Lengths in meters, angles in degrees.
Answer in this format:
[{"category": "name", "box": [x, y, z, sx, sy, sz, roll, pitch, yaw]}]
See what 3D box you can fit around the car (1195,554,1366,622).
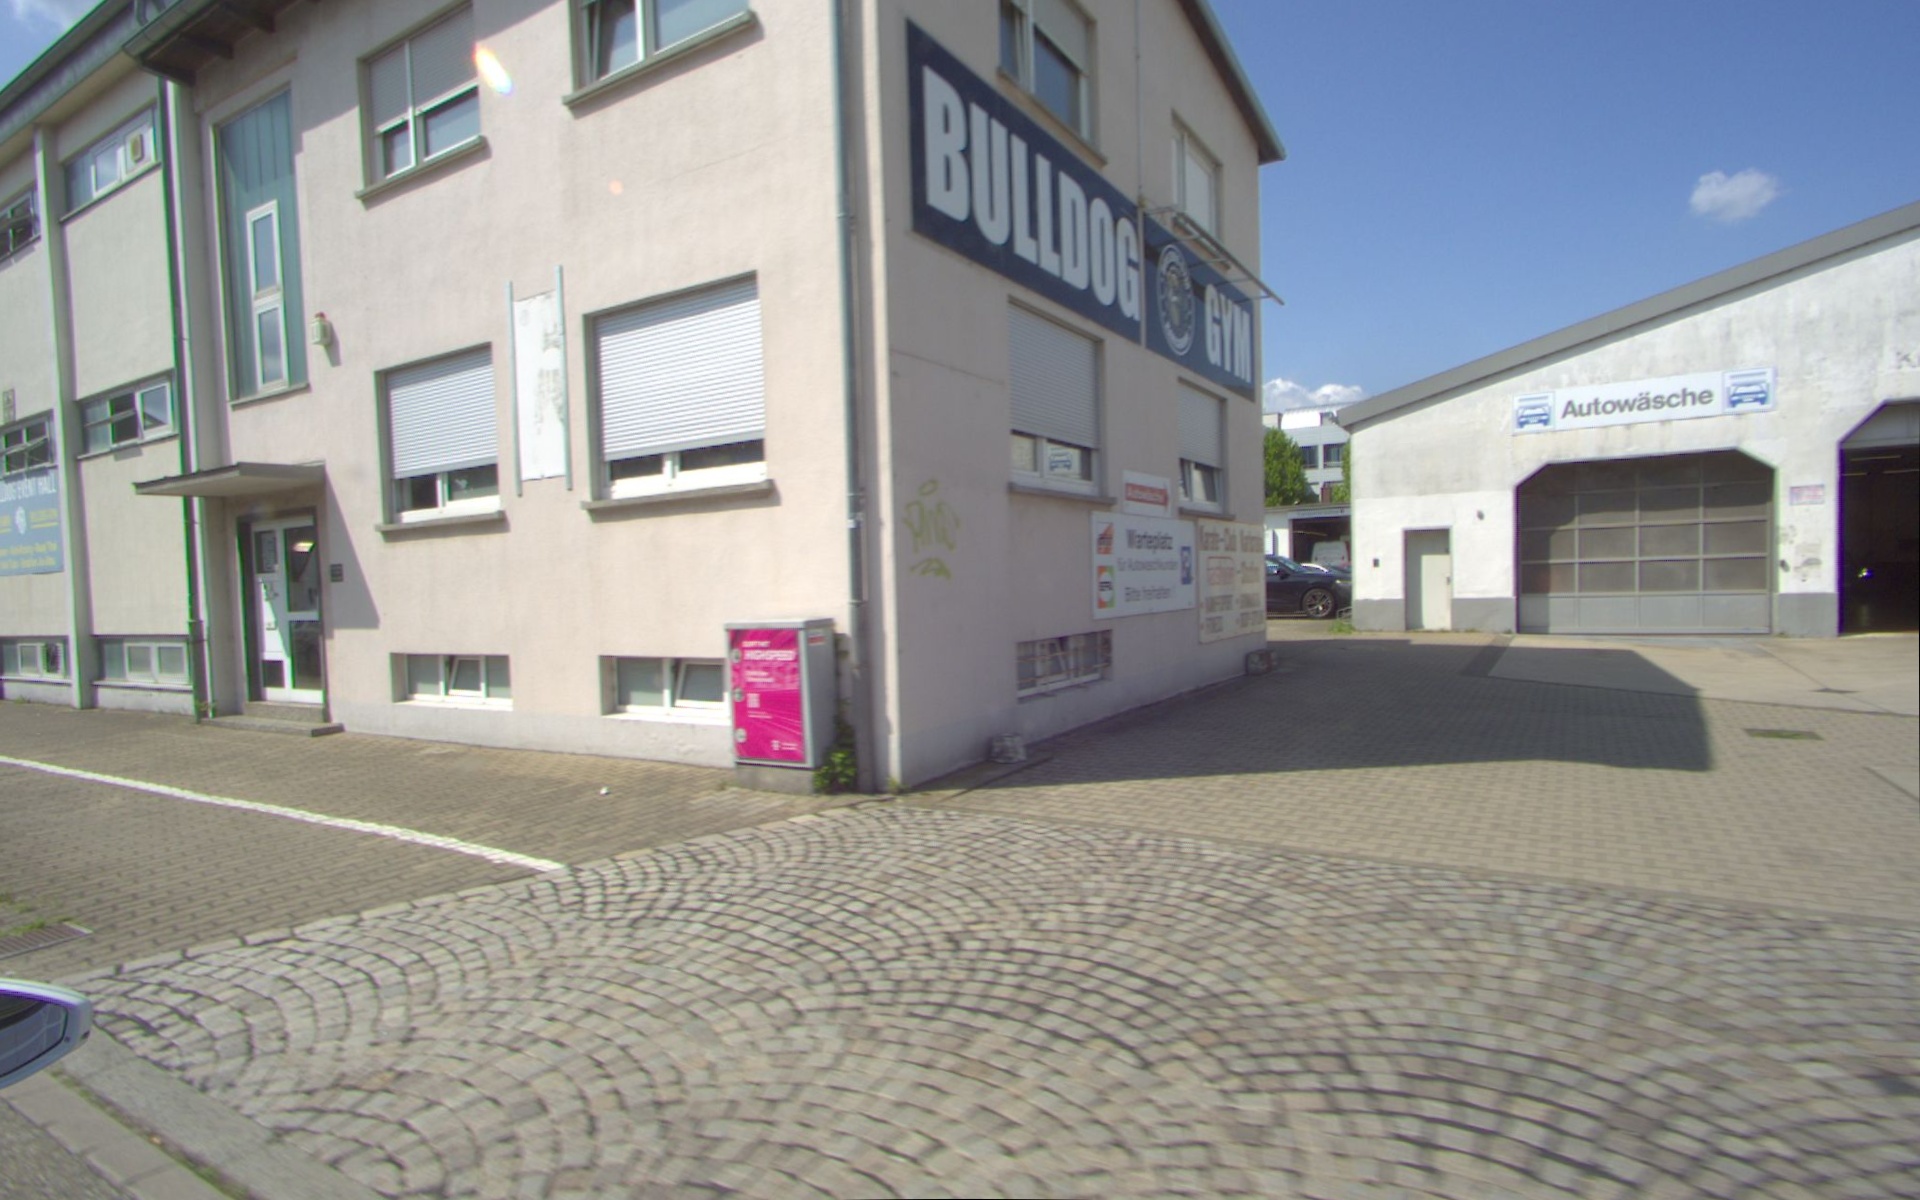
[{"category": "car", "box": [8.157, -0.300, 25.561, 3.886, 1.564, 1.508, -1, 2, 33]}]
